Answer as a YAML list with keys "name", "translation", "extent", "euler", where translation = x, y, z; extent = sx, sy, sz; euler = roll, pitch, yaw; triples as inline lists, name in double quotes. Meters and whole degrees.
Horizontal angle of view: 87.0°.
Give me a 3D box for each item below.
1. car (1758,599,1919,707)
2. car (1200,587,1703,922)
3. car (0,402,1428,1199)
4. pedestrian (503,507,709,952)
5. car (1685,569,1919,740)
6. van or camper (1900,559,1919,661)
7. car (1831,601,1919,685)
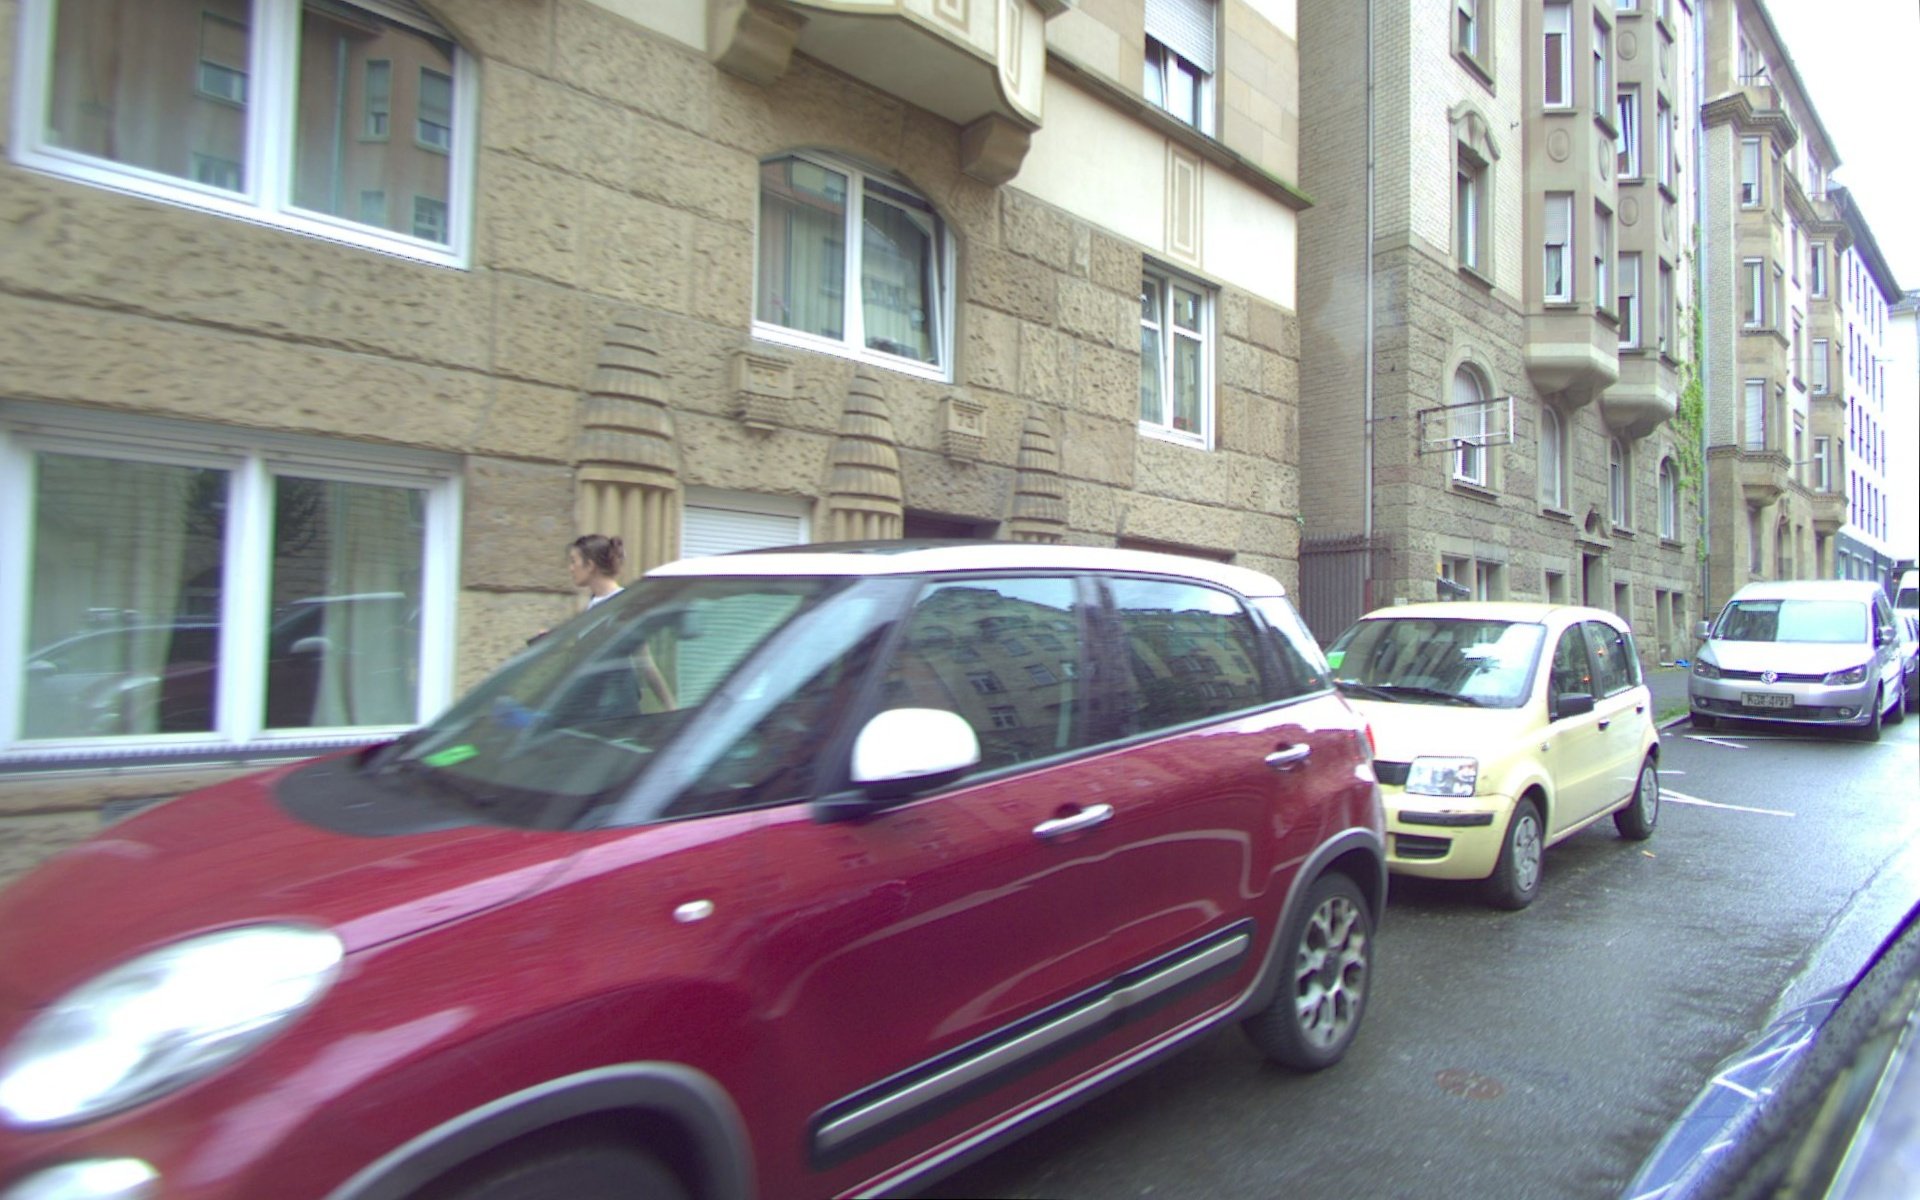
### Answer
- name: "car"
  translation: [14.201, 0.726, 15.896]
  extent: [3.931, 1.459, 1.996]
  euler: [0, 0, -42]
- name: "car"
  translation: [3.162, 0.709, 6.254]
  extent: [3.400, 1.497, 1.561]
  euler: [0, -2, -41]
- name: "car"
  translation: [-0.338, 0.629, 2.918]
  extent: [3.933, 1.649, 1.712]
  euler: [0, -1, -43]
- name: "pedestrian"
  translation: [-1.596, 0.513, 4.526]
  extent: [0.598, 1.755, 0.863]
  euler: [0, -1, -41]
- name: "car"
  translation: [10.770, 0.575, 12.704]
  extent: [4.284, 1.799, 1.777]
  euler: [0, 0, -41]
- name: "van or camper"
  translation: [26.068, 0.219, 26.070]
  extent: [6.012, 2.500, 2.068]
  euler: [-1, 0, -41]
- name: "car"
  translation: [17.521, 0.739, 18.686]
  extent: [3.931, 1.429, 1.678]
  euler: [0, -1, -42]
